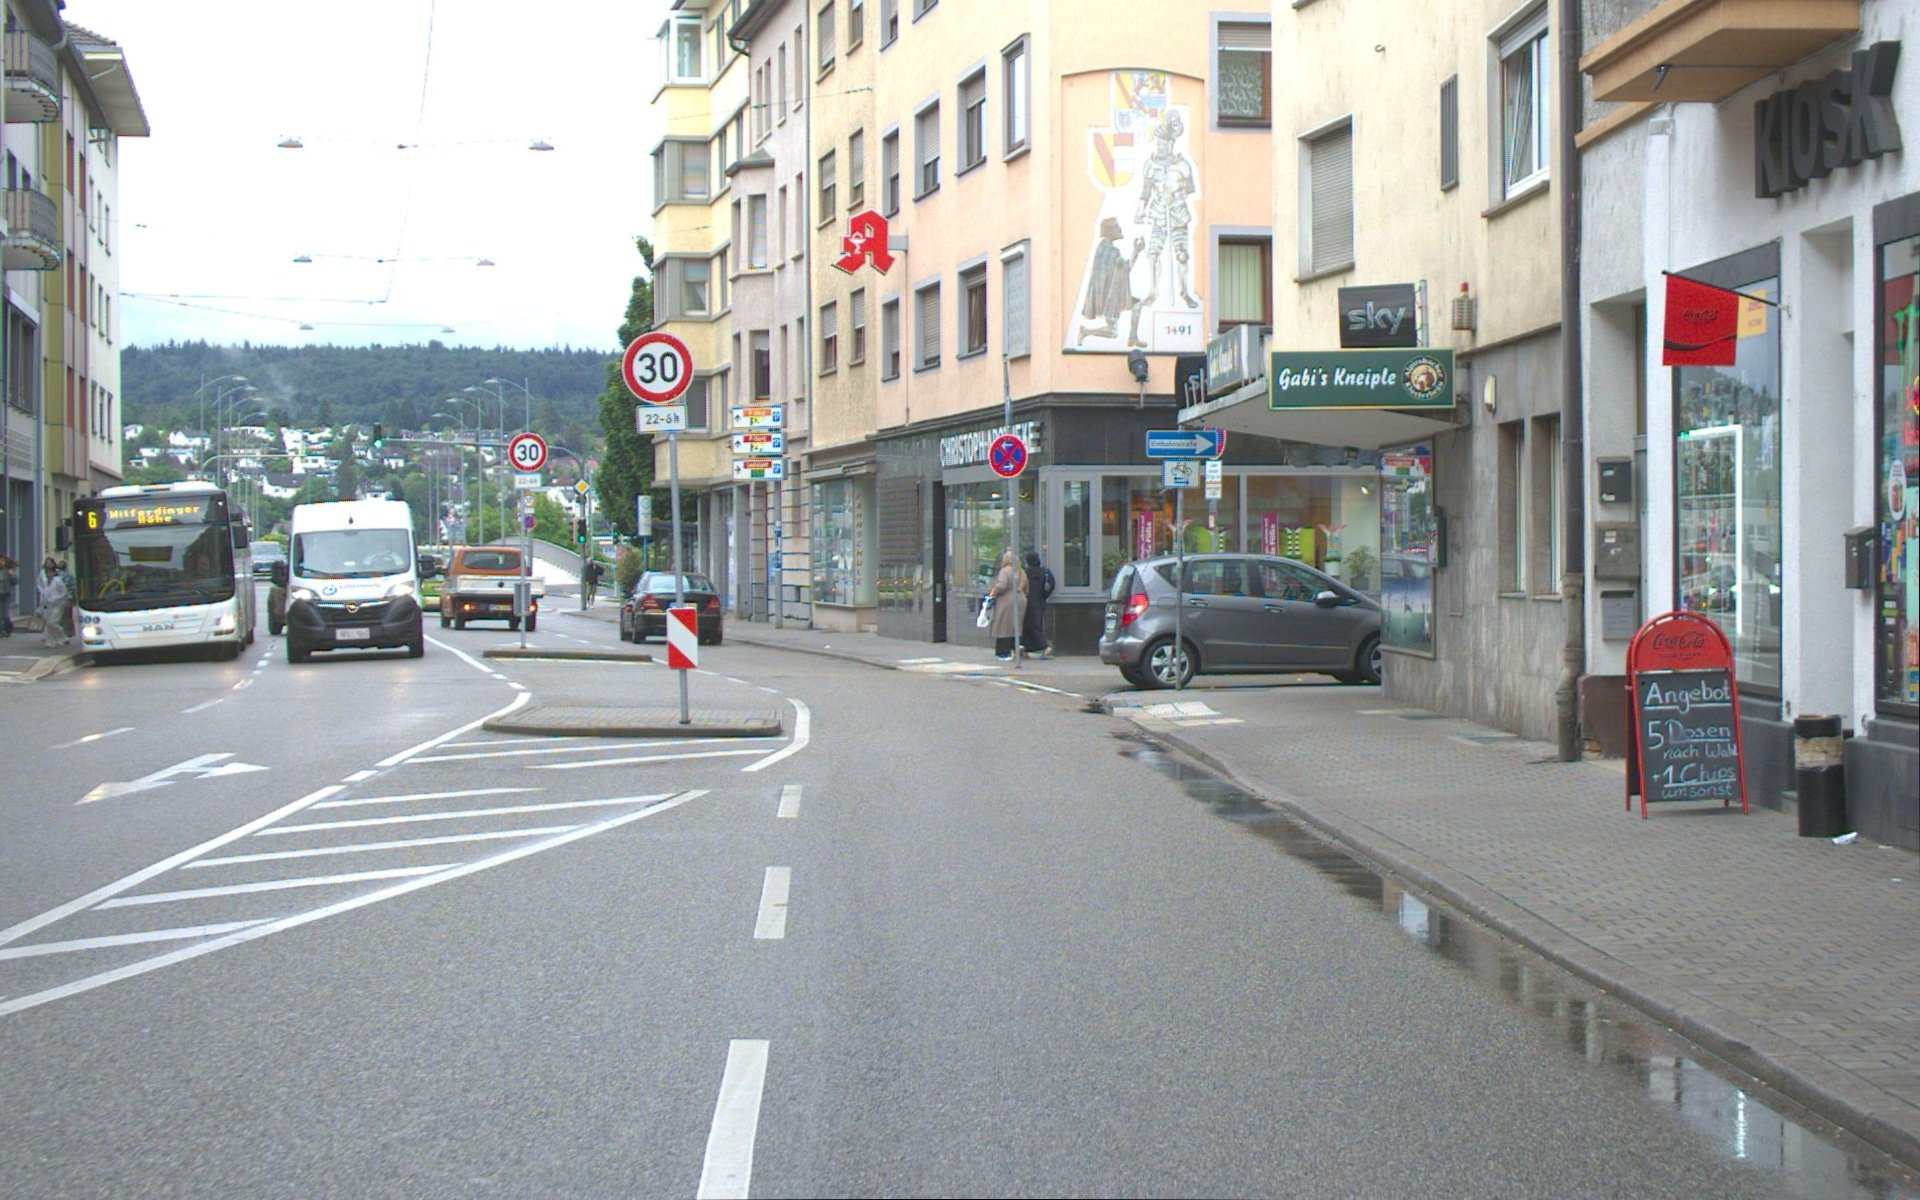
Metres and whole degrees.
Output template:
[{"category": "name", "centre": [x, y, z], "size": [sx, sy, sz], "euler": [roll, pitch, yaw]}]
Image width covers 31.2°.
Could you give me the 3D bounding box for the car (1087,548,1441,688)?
[{"category": "car", "centre": [3.562, 0.203, 40.702], "size": [3.824, 1.568, 1.937], "euler": [-1, 0, -8]}]

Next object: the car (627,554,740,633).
[{"category": "car", "centre": [-5.365, -0.126, 66.423], "size": [1.753, 1.474, 4.001], "euler": [-1, 0, -10]}]

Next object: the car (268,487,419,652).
[{"category": "car", "centre": [-9.654, -0.464, 54.249], "size": [2.086, 2.427, 6.354], "euler": [-1, 0, -8]}]

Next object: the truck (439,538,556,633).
[{"category": "truck", "centre": [-10.891, -0.337, 80.666], "size": [2.399, 2.122, 5.316], "euler": [-1, 0, -11]}]

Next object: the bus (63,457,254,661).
[{"category": "bus", "centre": [-13.524, -0.663, 58.544], "size": [2.758, 3.177, 8.914], "euler": [-1, 0, -11]}]

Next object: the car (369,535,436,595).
[{"category": "car", "centre": [-19.291, -1.196, 118.827], "size": [1.993, 2.007, 4.001], "euler": [-1, 0, -13]}]

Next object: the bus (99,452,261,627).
[{"category": "bus", "centre": [-15.209, -1.113, 67.530], "size": [2.725, 3.177, 9.295], "euler": [-1, 0, -11]}]

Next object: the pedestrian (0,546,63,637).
[{"category": "pedestrian", "centre": [-17.531, -0.160, 64.905], "size": [0.999, 1.678, 1.266], "euler": [-1, 0, -8]}]

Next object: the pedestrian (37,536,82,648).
[{"category": "pedestrian", "centre": [-16.218, -0.141, 61.953], "size": [0.678, 2.007, 0.777], "euler": [-1, 0, -8]}]

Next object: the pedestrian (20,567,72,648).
[{"category": "pedestrian", "centre": [-15.887, 0.126, 59.745], "size": [0.768, 1.391, 0.787], "euler": [-1, 0, -8]}]

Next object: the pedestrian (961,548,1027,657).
[{"category": "pedestrian", "centre": [0.480, 0.030, 49.527], "size": [0.778, 1.554, 0.783], "euler": [-1, 0, -12]}]

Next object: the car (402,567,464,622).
[{"category": "car", "centre": [-16.119, -0.167, 105.066], "size": [1.753, 1.646, 4.001], "euler": [-1, 0, -10]}]

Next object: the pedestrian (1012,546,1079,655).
[{"category": "pedestrian", "centre": [1.233, 0.010, 49.836], "size": [0.768, 1.554, 0.876], "euler": [-1, 0, -12]}]
